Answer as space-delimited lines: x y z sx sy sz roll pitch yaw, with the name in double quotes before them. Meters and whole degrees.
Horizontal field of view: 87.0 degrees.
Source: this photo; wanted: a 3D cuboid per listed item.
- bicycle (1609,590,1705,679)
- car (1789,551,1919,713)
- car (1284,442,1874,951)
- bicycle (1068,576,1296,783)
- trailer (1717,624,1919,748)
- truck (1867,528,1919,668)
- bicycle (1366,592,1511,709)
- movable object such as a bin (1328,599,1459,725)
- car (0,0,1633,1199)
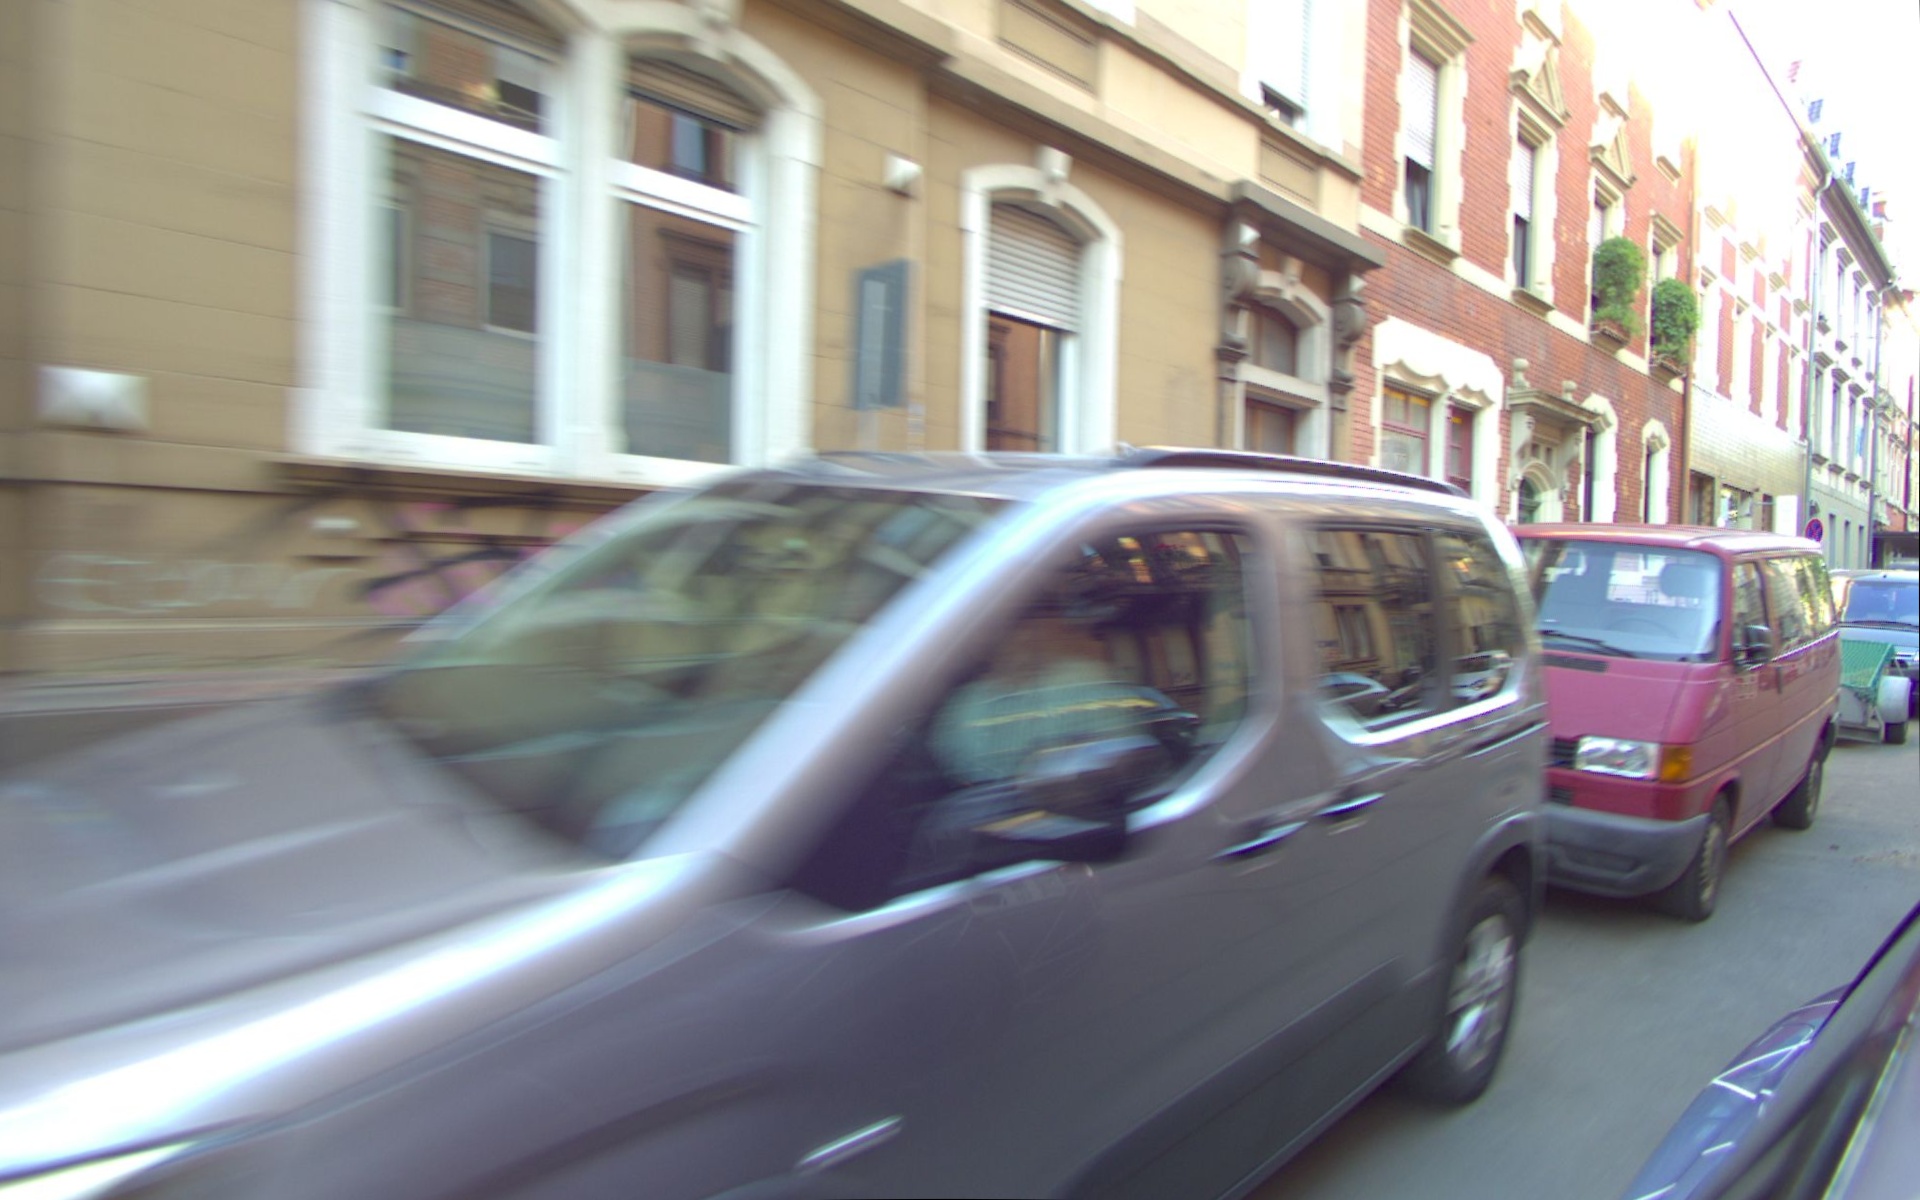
"bicycle" 10.809 0.500 15.662 1.957 1.237 0.670 -1 5 -41
"car" 13.382 0.394 14.333 4.497 2.009 1.847 0 -1 -42
"car" 4.093 0.375 6.291 4.659 2.039 1.835 0 0 -41
"bicycle" 1.665 0.515 7.472 1.662 1.319 0.729 0 5 -41
"trailer" 9.668 0.861 11.225 2.988 1.127 1.506 0 -2 -43
"truck" 21.270 0.011 21.621 6.149 2.688 2.152 0 6 -44
"bicycle" 5.344 0.521 11.259 1.865 1.135 0.703 1 5 -42
"movable object such as a bin" 4.197 0.566 9.805 0.710 1.074 0.897 0 4 -43
"car" 0.008 0.468 2.538 4.189 1.986 1.772 0 0 -41
